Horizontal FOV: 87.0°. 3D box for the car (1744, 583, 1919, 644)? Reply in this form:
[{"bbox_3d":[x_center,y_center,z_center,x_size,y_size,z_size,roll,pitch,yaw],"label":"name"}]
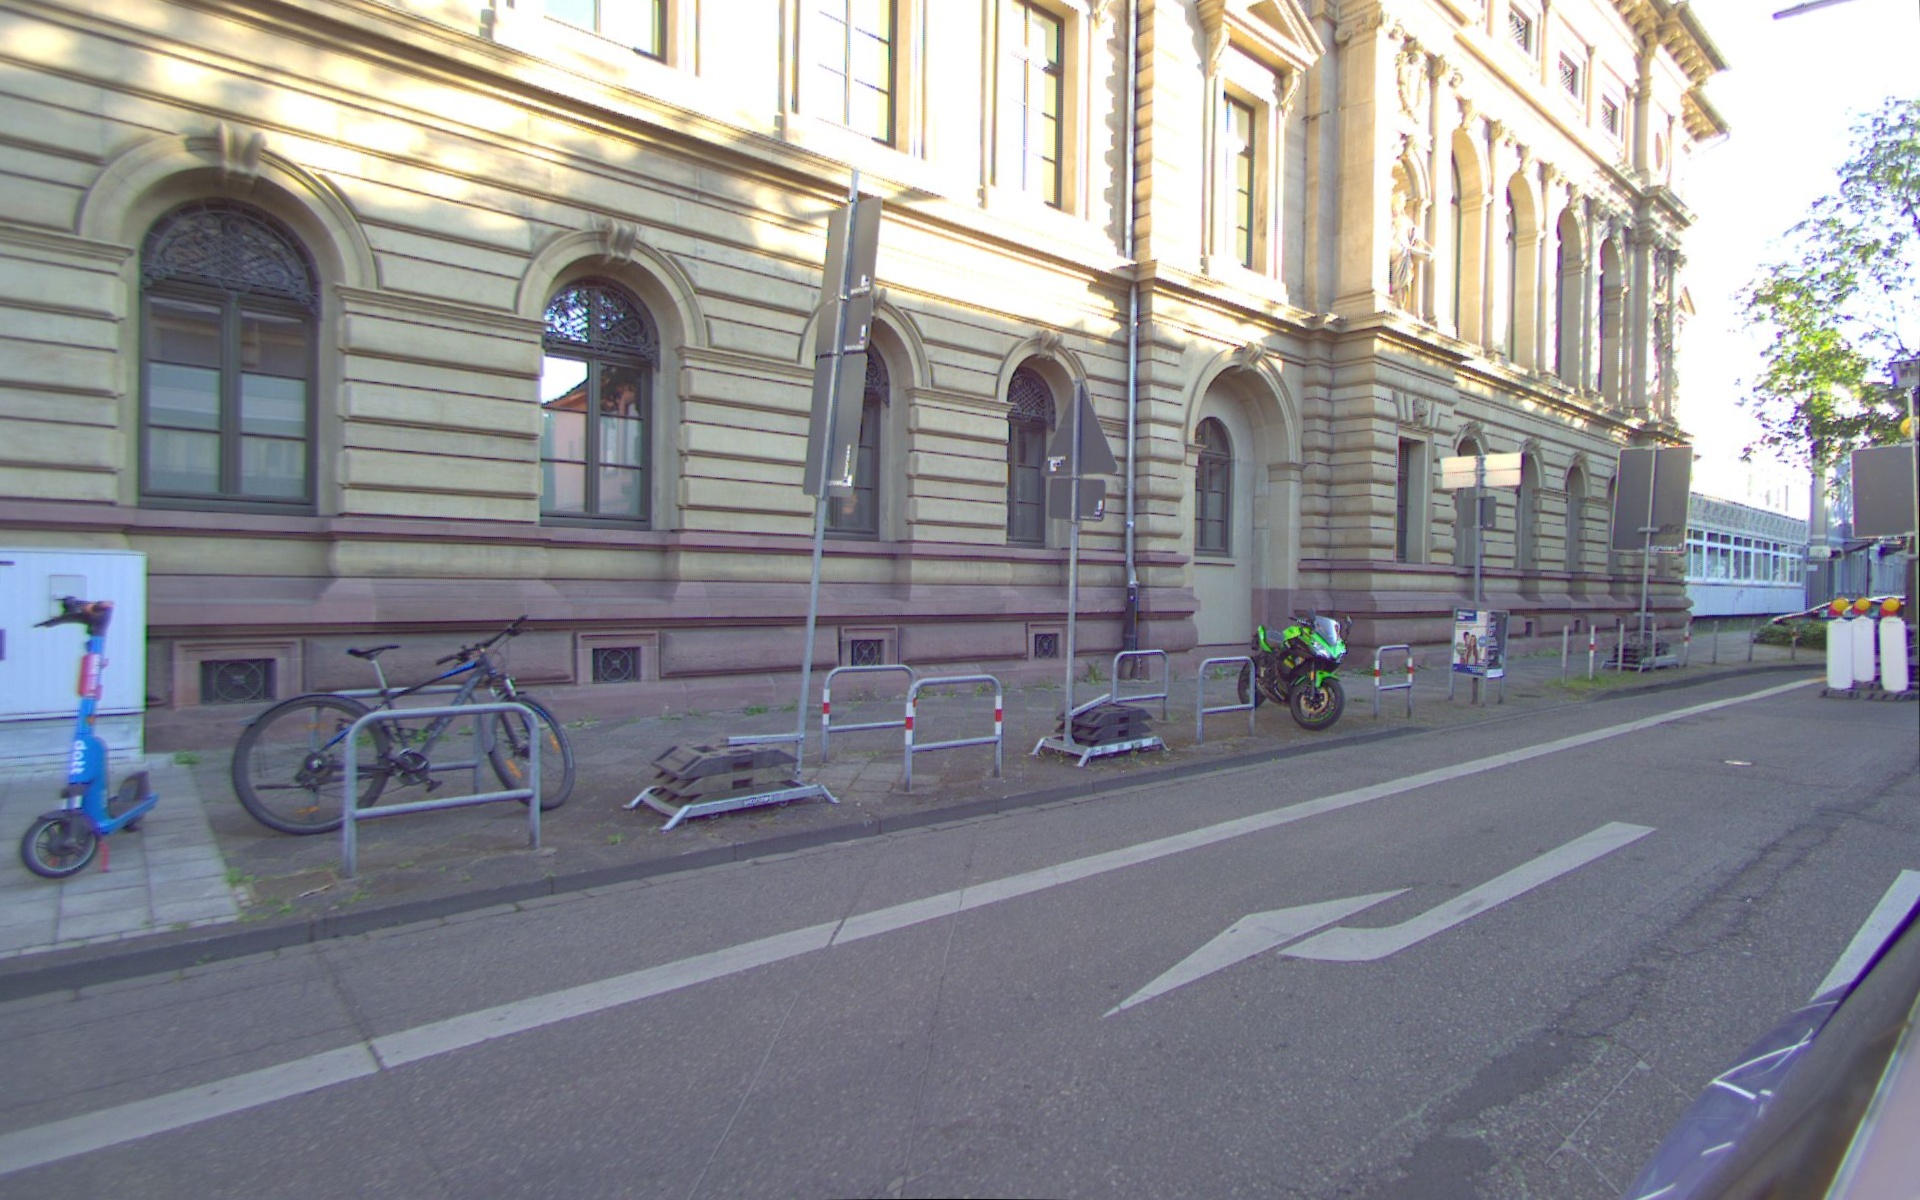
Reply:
[{"bbox_3d":[26.377,0.350,30.290,1.804,1.481,4.362,-1,4,-44],"label":"car"}]

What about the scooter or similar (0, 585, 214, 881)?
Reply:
[{"bbox_3d":[-4.142,0.566,4.915,0.571,1.210,1.137,1,3,-22],"label":"scooter or similar"}]

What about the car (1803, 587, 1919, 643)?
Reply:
[{"bbox_3d":[28.998,0.477,31.188,1.643,1.513,4.367,0,4,-40],"label":"car"}]

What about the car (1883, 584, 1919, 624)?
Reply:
[{"bbox_3d":[41.818,0.261,42.492,1.704,1.644,4.364,0,4,-43],"label":"car"}]

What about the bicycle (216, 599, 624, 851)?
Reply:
[{"bbox_3d":[-3.022,0.599,5.767,1.910,1.148,0.829,0,4,-41],"label":"bicycle"}]

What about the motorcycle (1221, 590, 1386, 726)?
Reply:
[{"bbox_3d":[3.660,0.571,11.020,0.695,1.229,2.109,1,3,-11],"label":"motorcycle"}]

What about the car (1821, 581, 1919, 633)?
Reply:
[{"bbox_3d":[33.459,0.267,35.752,2.020,1.662,4.364,0,4,-43],"label":"car"}]
